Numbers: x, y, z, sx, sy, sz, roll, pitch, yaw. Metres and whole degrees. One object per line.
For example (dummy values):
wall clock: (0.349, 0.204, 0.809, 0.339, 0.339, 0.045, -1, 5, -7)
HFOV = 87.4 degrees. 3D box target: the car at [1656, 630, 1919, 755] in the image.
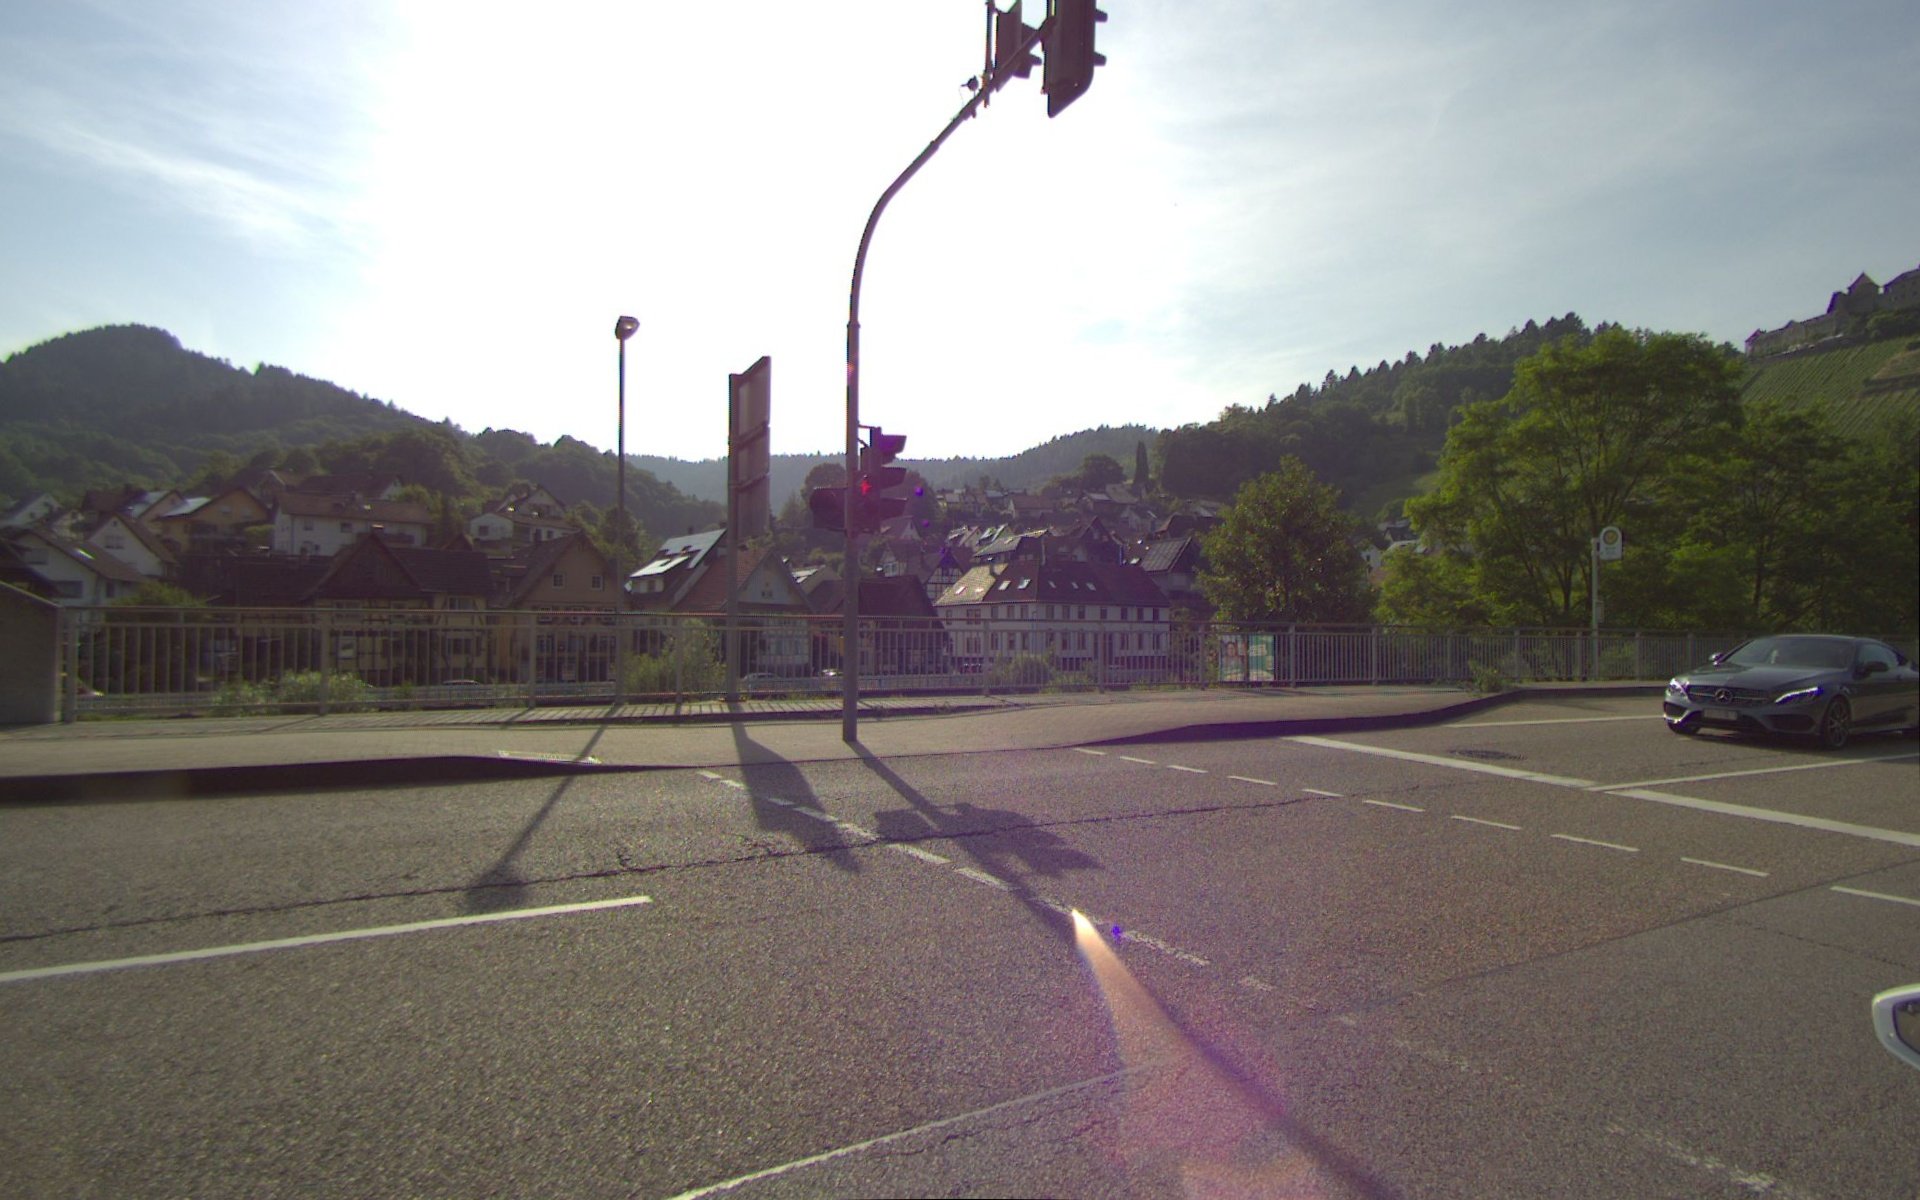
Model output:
car: (11.667, 1.174, 13.726, 4.589, 1.396, 1.762, 2, 0, -30)

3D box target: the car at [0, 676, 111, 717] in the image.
car: (-42.960, 4.501, 47.281, 4.507, 1.714, 1.479, 2, -2, -40)
